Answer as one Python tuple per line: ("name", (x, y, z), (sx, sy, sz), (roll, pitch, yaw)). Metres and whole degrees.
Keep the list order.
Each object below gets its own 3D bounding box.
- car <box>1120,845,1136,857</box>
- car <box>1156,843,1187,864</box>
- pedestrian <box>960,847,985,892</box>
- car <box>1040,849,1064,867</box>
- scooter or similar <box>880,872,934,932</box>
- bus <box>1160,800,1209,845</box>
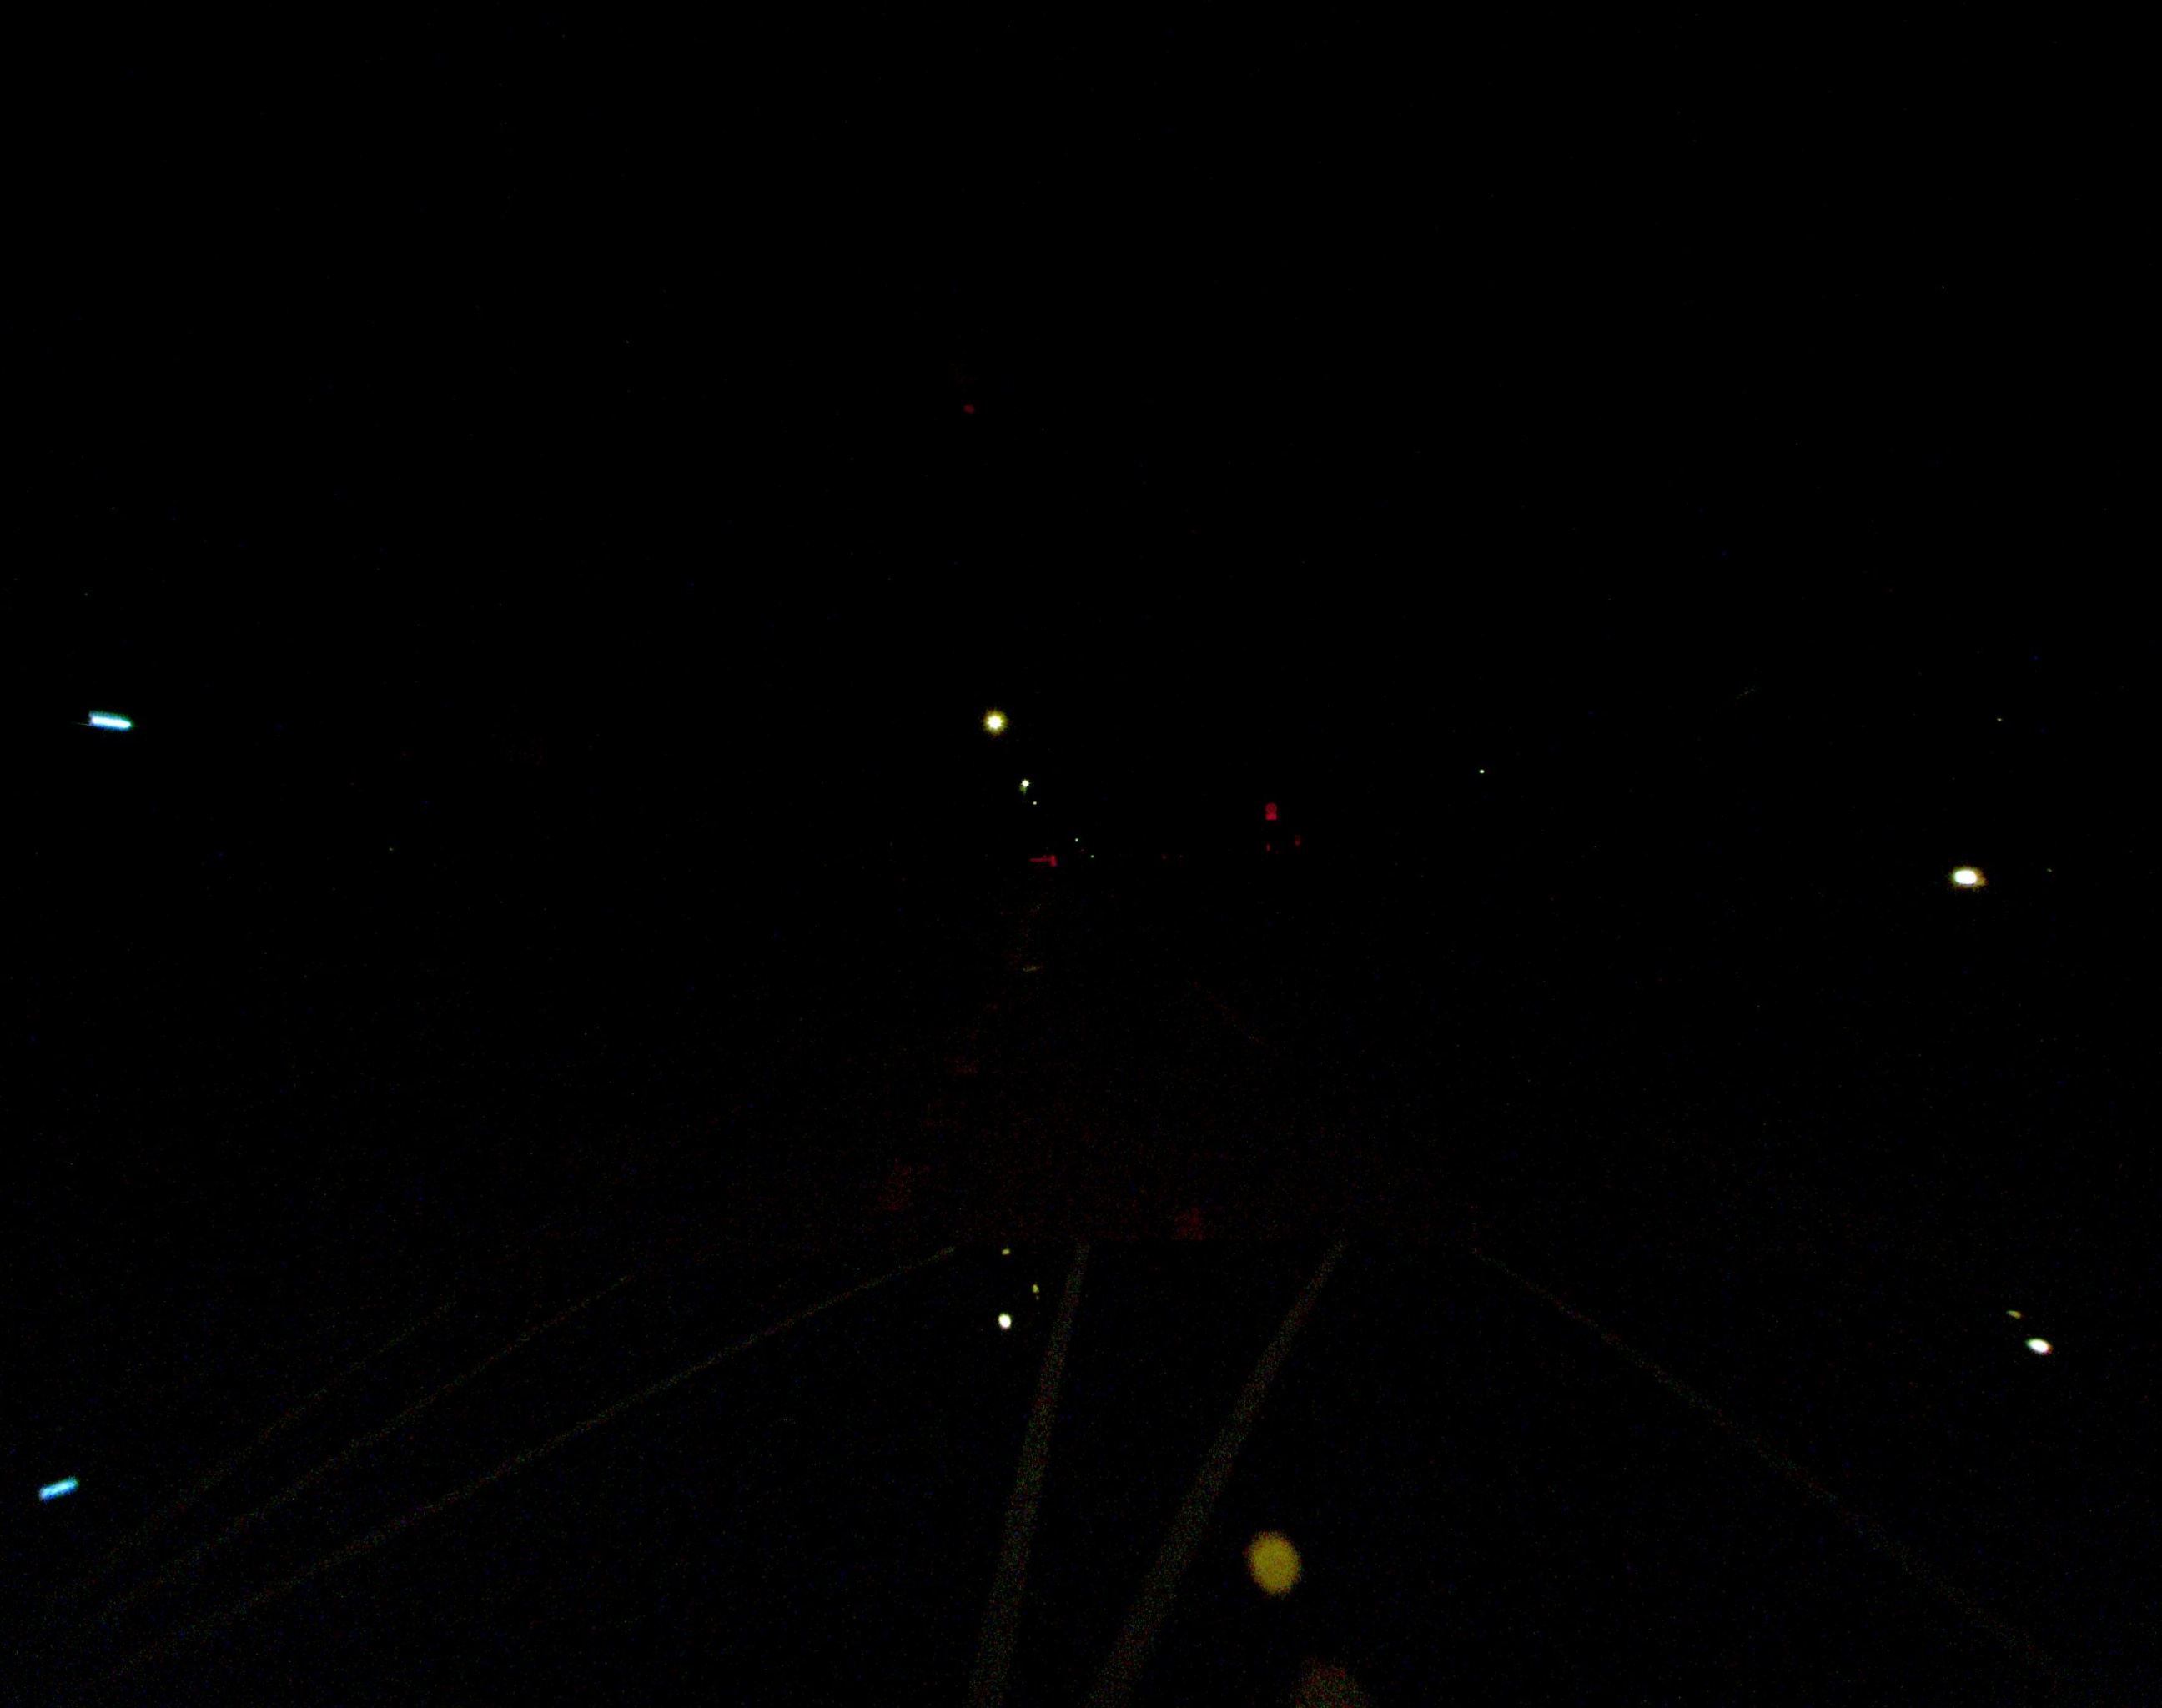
("car", (6.217, -0.395, 100.398), (1.863, 1.484, 4.080), (-2, 1, 1))
("car", (7.186, -0.053, 60.777), (1.806, 1.583, 3.999), (-2, 1, -2))
("pedestrian", (-4.634, 0.633, 32.417), (0.819, 1.854, 1.034), (-2, 1, 1))
("car", (-2.949, 0.396, 78.164), (1.998, 1.638, 4.000), (1, 1, 4))
("scooter or similar", (-3.666, 0.997, 16.069), (0.468, 1.195, 1.137), (-2, -1, 24))
("bus", (17.361, -5.108, 129.067), (6.135, 6.898, 14.781), (-2, 1, 1))
